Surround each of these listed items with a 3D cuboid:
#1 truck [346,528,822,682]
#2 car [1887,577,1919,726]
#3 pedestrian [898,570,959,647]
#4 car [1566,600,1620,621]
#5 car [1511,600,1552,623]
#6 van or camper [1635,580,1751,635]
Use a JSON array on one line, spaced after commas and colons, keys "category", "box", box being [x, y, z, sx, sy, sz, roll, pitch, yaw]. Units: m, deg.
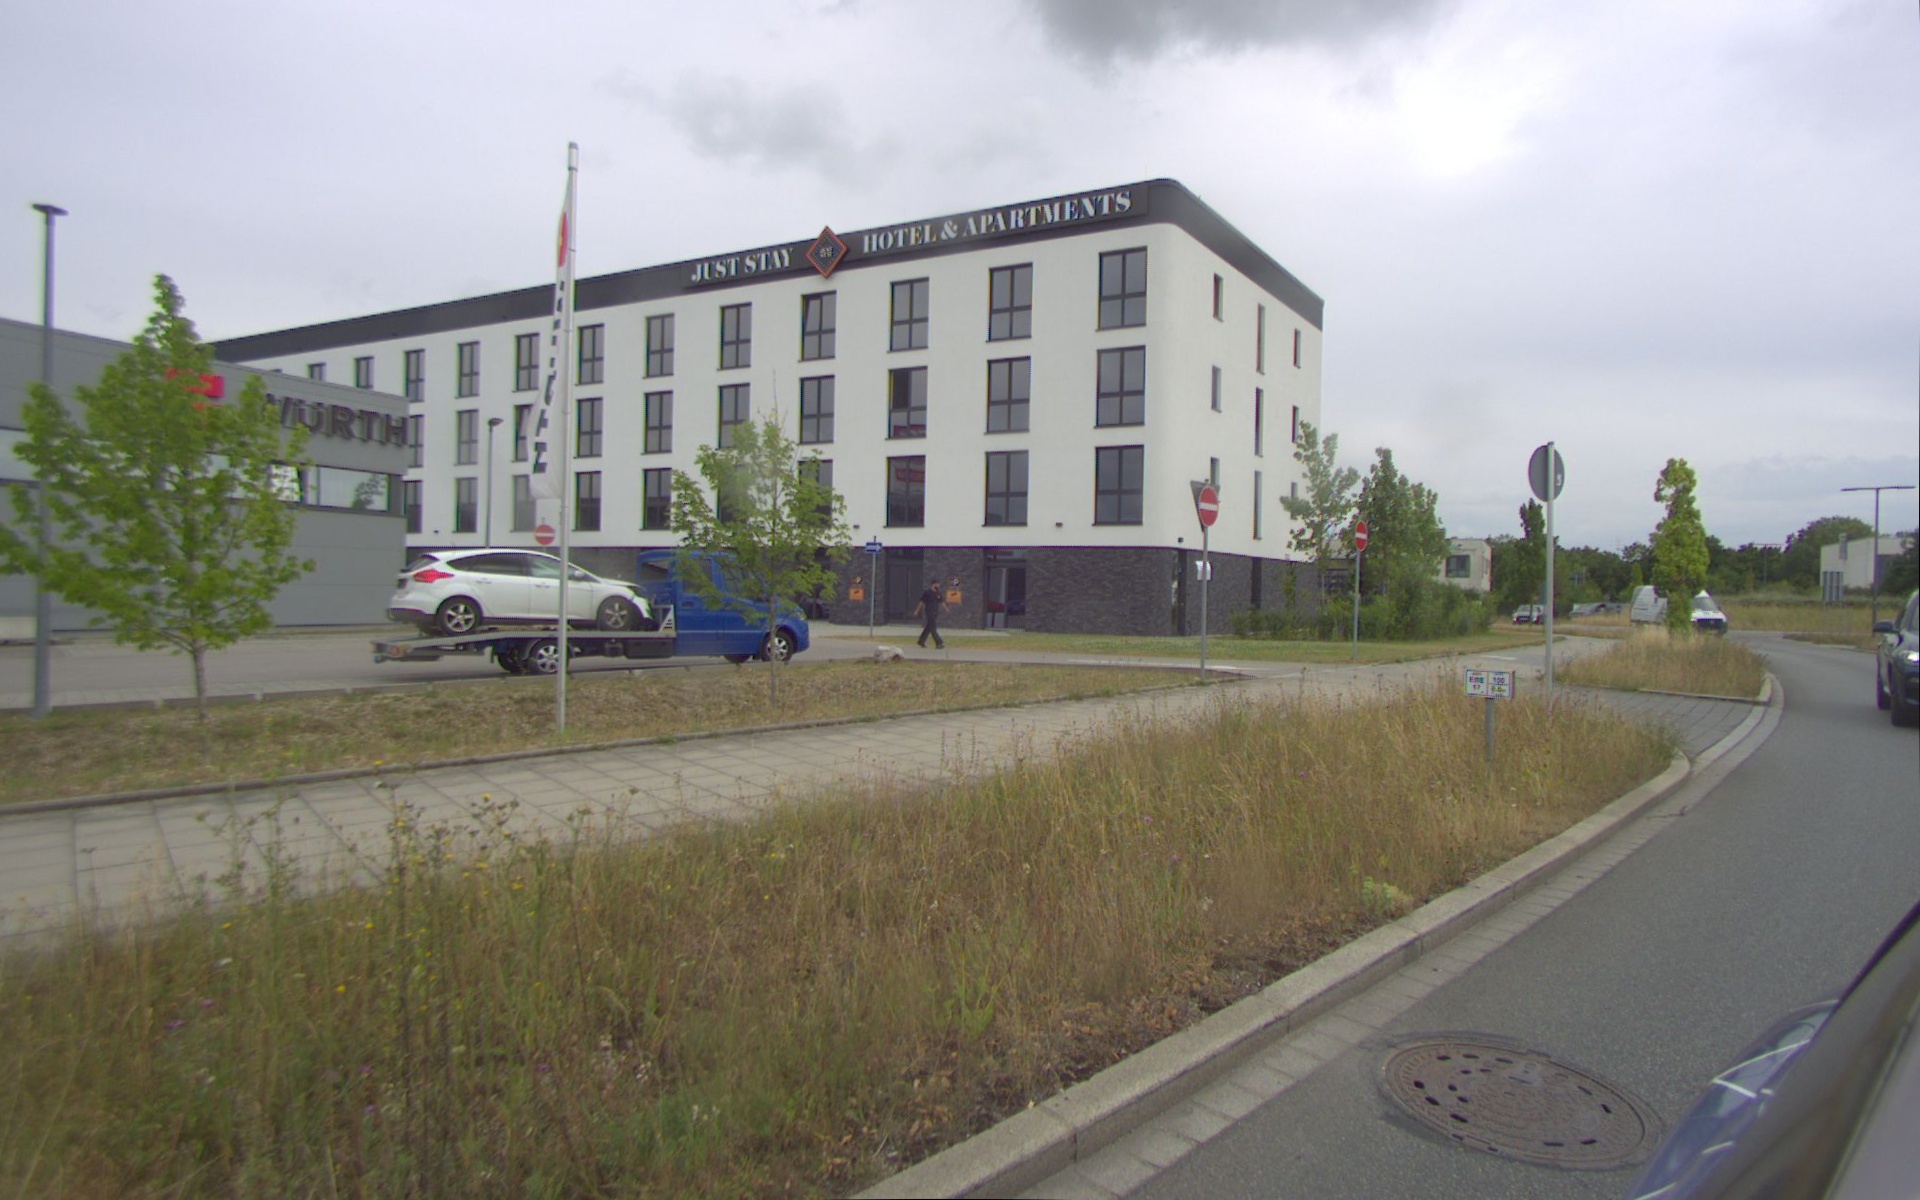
[{"category": "truck", "box": [-6.616, 0.060, 18.919, 8.069, 2.355, 2.231, 0, 1, -40]}, {"category": "car", "box": [12.731, 0.581, 12.335, 1.994, 1.685, 3.936, 0, 0, 44]}, {"category": "pedestrian", "box": [-0.803, 0.187, 25.980, 1.190, 1.880, 1.059, 2, 2, 41]}, {"category": "car", "box": [50.124, 0.805, 80.125, 3.919, 1.605, 1.976, 0, 0, -29]}, {"category": "car", "box": [41.305, 0.818, 73.067, 1.990, 1.605, 3.944, 0, 1, 39]}, {"category": "van or camper", "box": [37.726, 0.324, 52.301, 2.226, 2.649, 5.689, 1, 1, 5]}]
